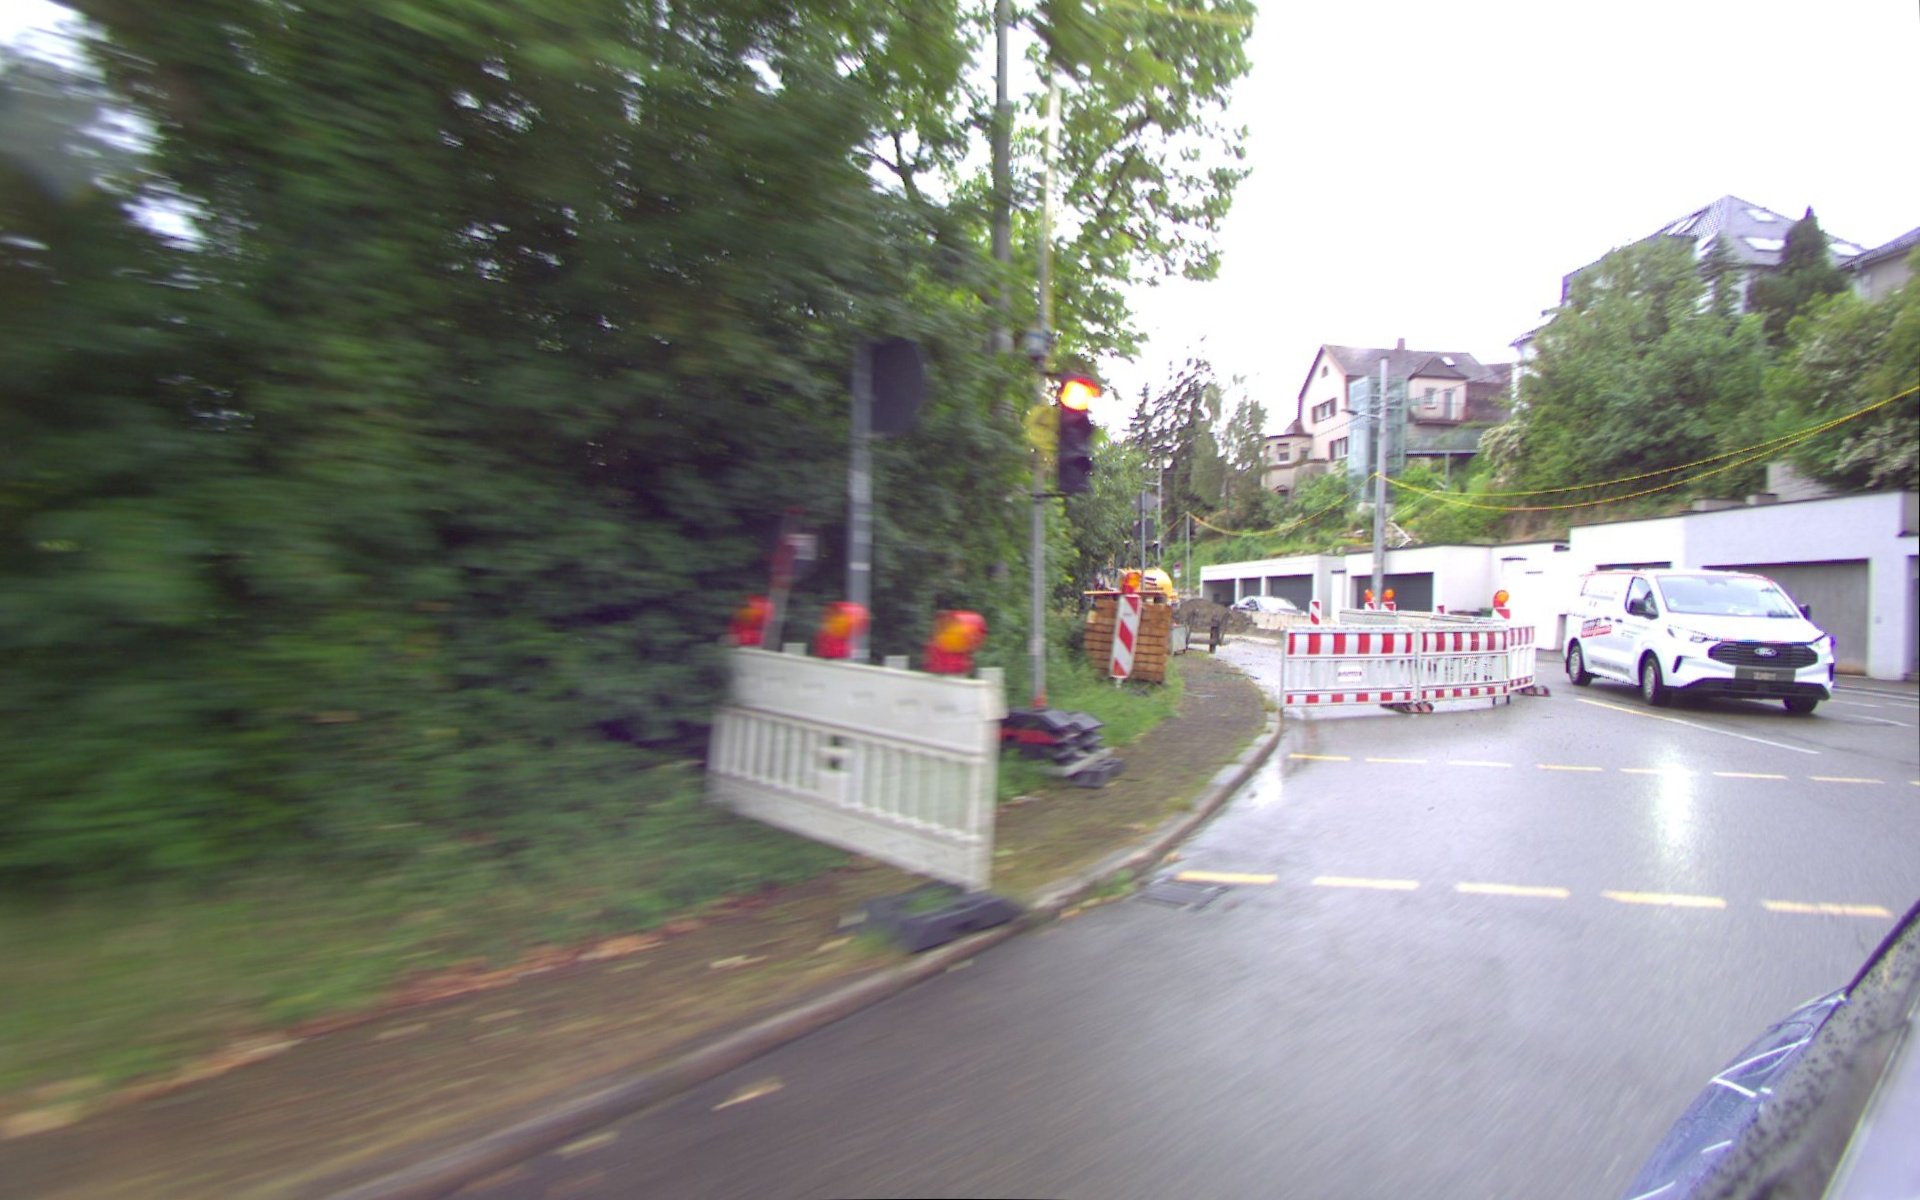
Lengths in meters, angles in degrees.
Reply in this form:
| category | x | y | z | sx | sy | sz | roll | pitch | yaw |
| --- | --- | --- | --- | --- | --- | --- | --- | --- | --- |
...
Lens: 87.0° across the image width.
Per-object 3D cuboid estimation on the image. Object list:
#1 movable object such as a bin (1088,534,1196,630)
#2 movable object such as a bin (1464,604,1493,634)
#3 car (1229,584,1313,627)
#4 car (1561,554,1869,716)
| category | x | y | z | sx | sy | sz | roll | pitch | yaw |
| --- | --- | --- | --- | --- | --- | --- | --- | --- | --- |
| movable object such as a bin | 6.270 | -0.661 | 35.525 | 2.484 | 3.105 | 4.863 | 1 | 1 | -4 |
| movable object such as a bin | 17.392 | 0.640 | 33.957 | 0.499 | 0.942 | 0.769 | 1 | 1 | -2 |
| car | 12.137 | 0.187 | 39.760 | 1.961 | 1.605 | 4.001 | 0 | 0 | -2 |
| car | 11.094 | 0.401 | 15.407 | 1.971 | 2.039 | 4.927 | 0 | 1 | 14 |
